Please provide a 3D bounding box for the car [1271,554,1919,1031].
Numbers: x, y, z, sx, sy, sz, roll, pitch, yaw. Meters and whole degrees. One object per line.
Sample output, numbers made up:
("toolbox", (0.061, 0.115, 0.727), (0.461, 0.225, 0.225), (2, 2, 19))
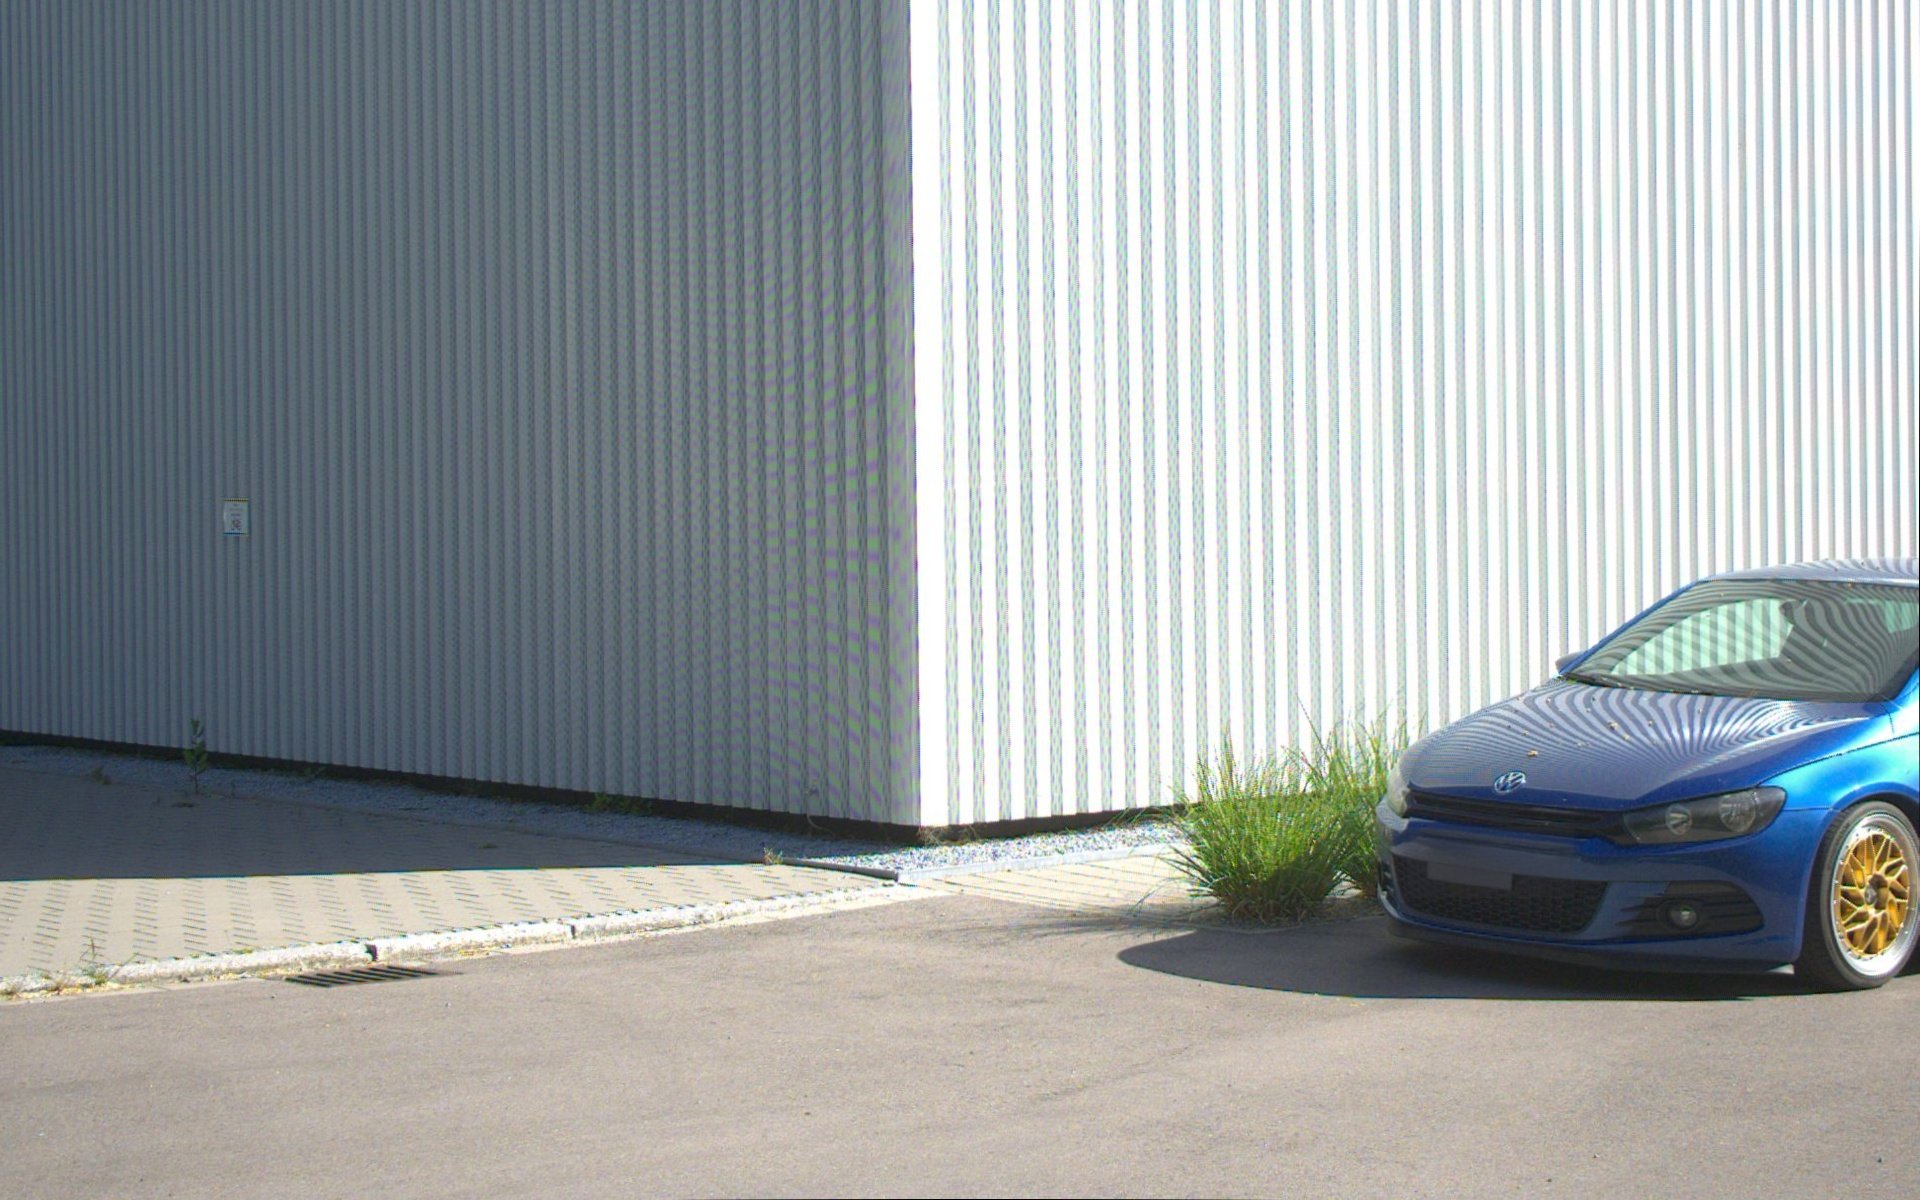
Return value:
("car", (3.204, 0.550, 12.352), (4.156, 1.379, 1.754), (-1, 2, -41))
